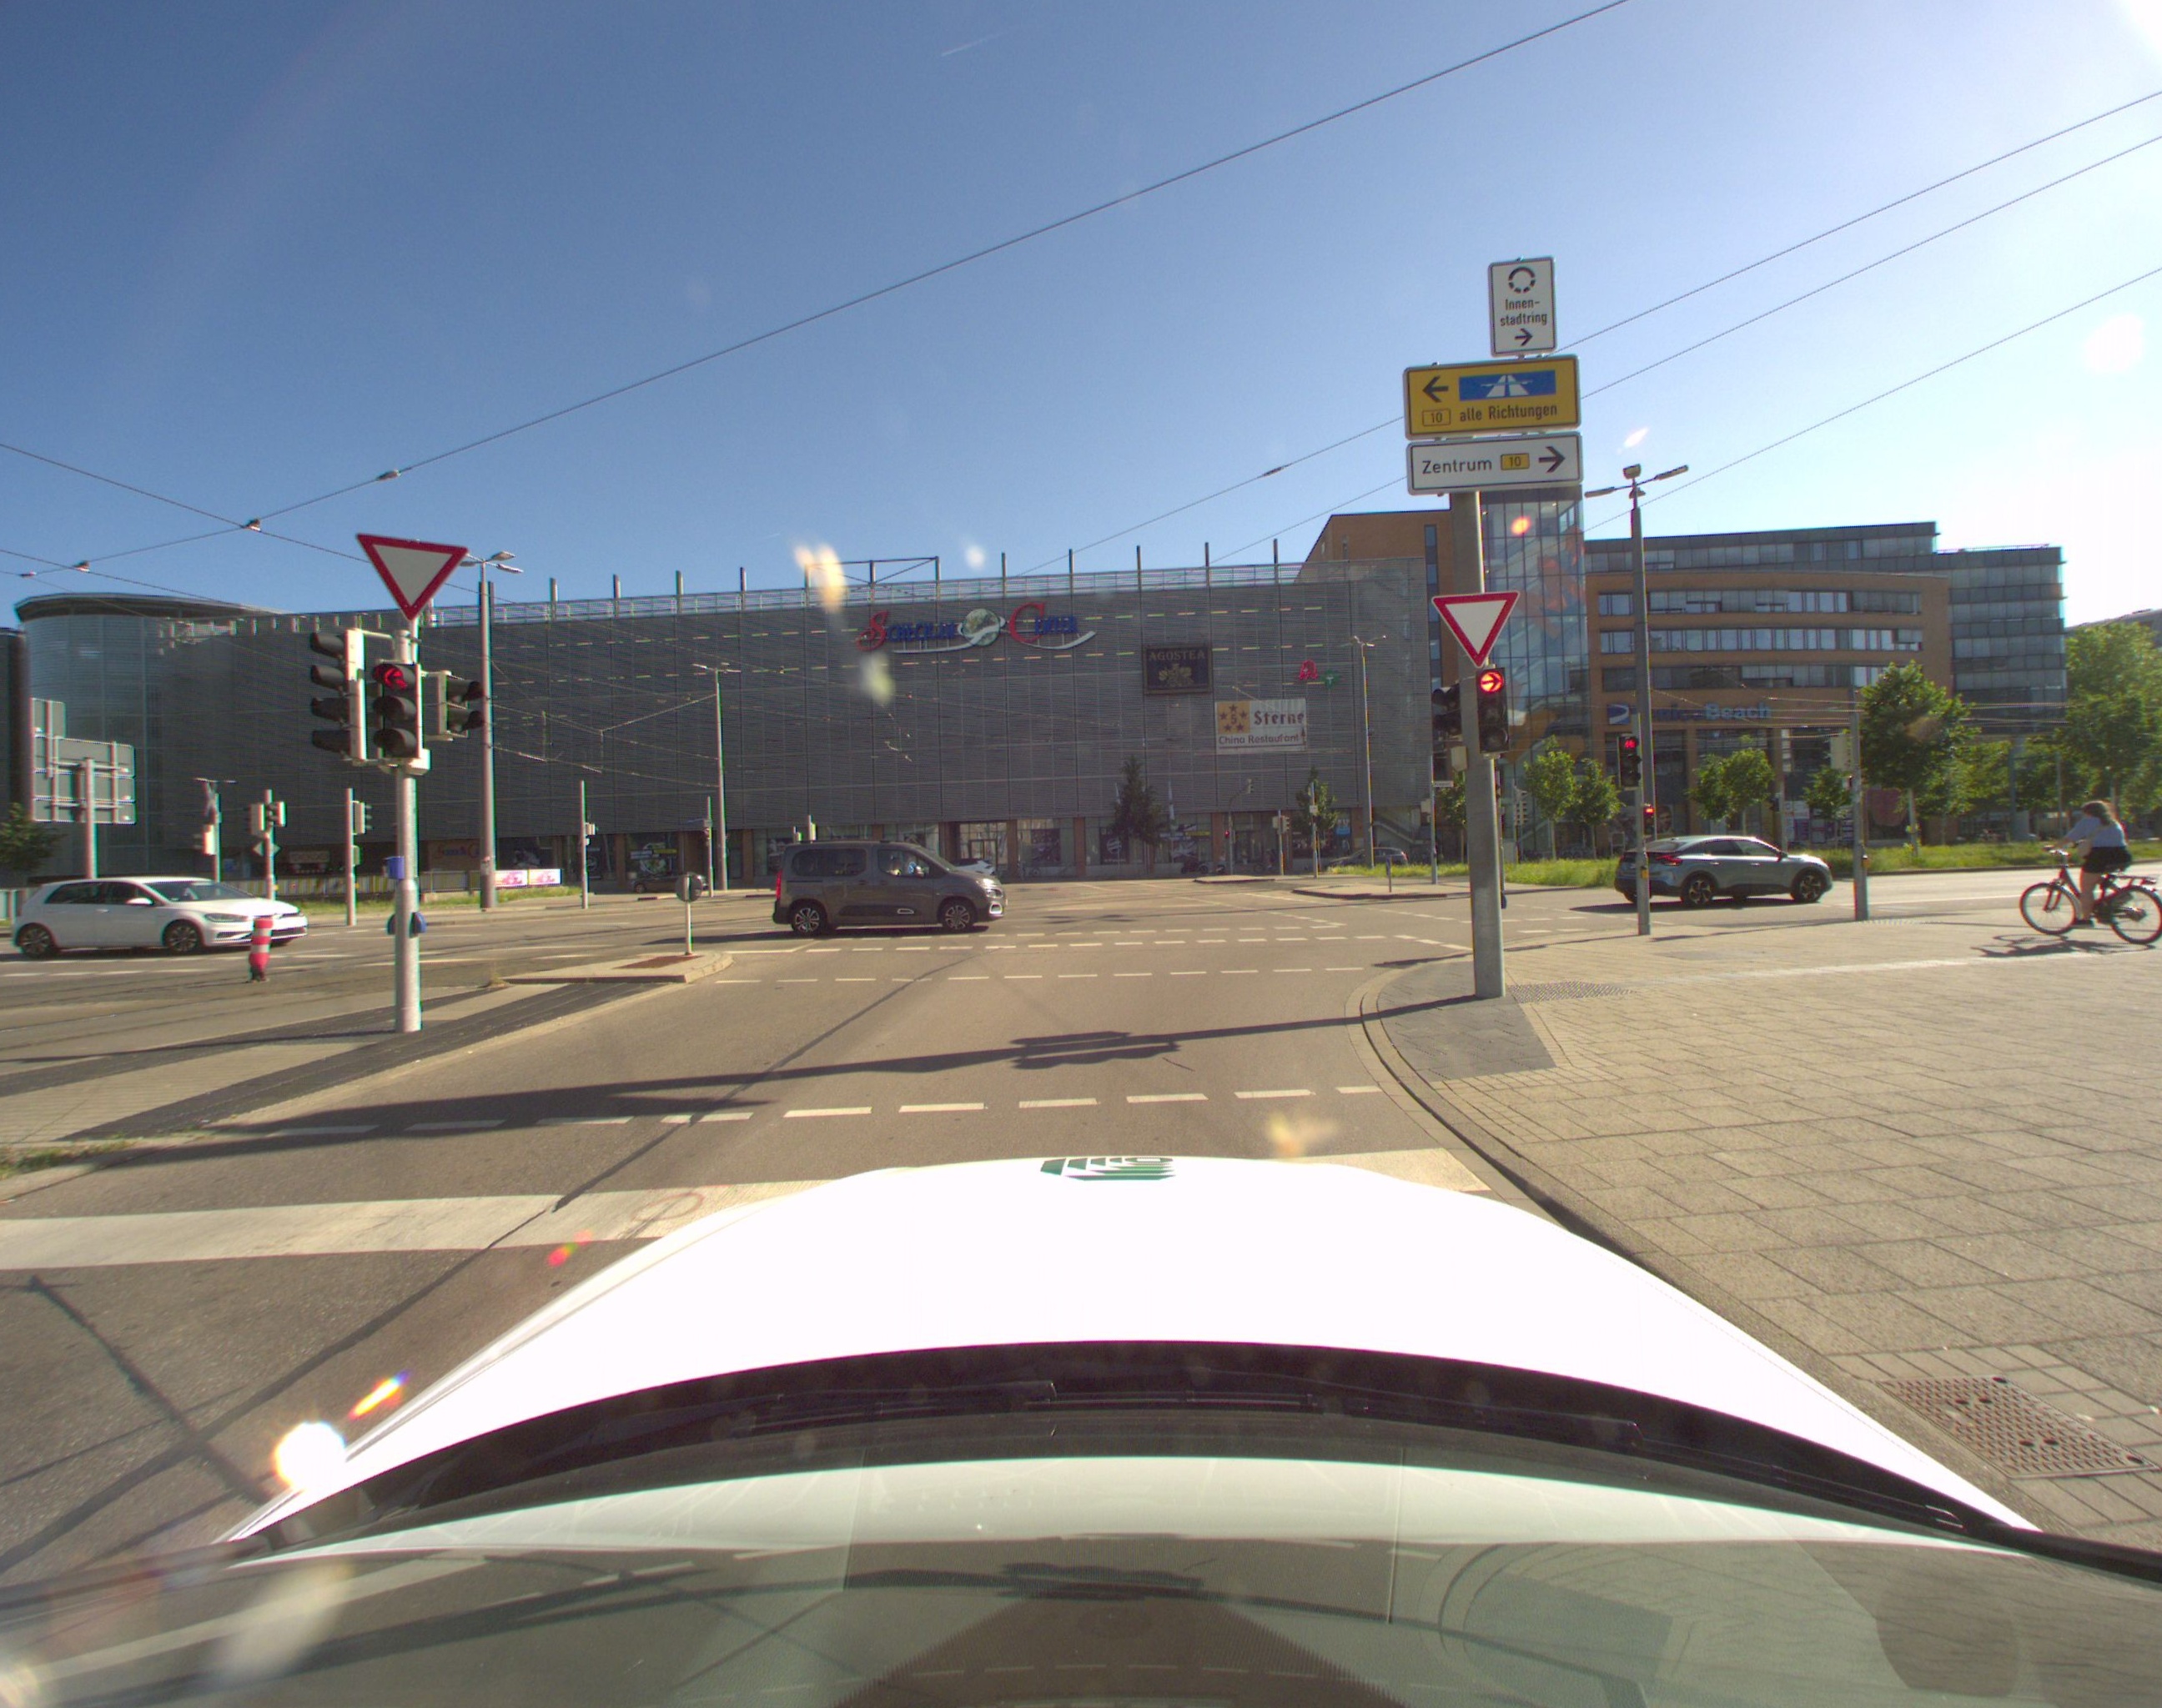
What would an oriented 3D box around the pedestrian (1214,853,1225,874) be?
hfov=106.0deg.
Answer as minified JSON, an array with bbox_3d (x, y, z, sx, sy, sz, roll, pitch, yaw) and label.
[{"bbox_3d":[9.394,0.628,55.196,0.650,1.414,0.853,-1,-1,12],"label":"pedestrian"}]

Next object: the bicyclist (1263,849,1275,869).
[{"bbox_3d":[13.298,0.342,57.610,0.750,1.386,0.566,-2,1,1],"label":"bicyclist"}]

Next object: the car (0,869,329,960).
[{"bbox_3d":[-17.323,1.101,15.504,4.267,1.472,1.866,-2,0,1],"label":"car"}]

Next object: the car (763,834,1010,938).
[{"bbox_3d":[-3.663,0.583,16.029,4.450,1.791,1.706,-2,0,-5],"label":"car"}]

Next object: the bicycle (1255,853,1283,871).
[{"bbox_3d":[13.299,0.575,57.611,1.850,1.217,0.569,-2,1,1],"label":"bicycle"}]

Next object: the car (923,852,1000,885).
[{"bbox_3d":[-7.205,0.852,49.224,4.311,1.863,1.841,-1,-1,1],"label":"car"}]

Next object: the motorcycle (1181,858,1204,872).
[{"bbox_3d":[8.301,0.828,60.590,1.630,1.004,0.448,0,0,8],"label":"motorcycle"}]

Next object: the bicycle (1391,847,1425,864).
[{"bbox_3d":[24.331,0.108,60.614,2.247,1.296,0.606,0,-1,0],"label":"bicycle"}]

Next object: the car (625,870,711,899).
[{"bbox_3d":[-25.228,1.858,49.852,4.274,1.584,1.841,2,-1,1],"label":"car"}]

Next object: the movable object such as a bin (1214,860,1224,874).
[{"bbox_3d":[9.260,0.879,54.733,0.608,0.904,0.972,-1,-1,12],"label":"movable object such as a bin"}]

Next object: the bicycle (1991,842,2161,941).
[{"bbox_3d":[11.960,0.435,9.684,0.661,1.072,1.828,-1,-2,18],"label":"bicycle"}]

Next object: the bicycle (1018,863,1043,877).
[{"bbox_3d":[-3.793,1.172,60.783,1.815,0.989,0.556,-2,1,-8],"label":"bicycle"}]

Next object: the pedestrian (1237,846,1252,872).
[{"bbox_3d":[11.905,0.352,59.342,0.945,1.829,0.847,-3,-4,7],"label":"pedestrian"}]

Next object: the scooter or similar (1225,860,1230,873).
[{"bbox_3d":[9.909,0.866,55.001,0.293,0.873,1.007,-1,-1,12],"label":"scooter or similar"}]

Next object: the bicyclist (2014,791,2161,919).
[{"bbox_3d":[11.963,0.033,9.705,0.661,1.436,0.944,-2,-3,19],"label":"bicyclist"}]

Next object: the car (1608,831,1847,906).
[{"bbox_3d":[14.248,0.297,18.039,4.262,1.514,1.704,-1,0,-8],"label":"car"}]

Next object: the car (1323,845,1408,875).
[{"bbox_3d":[15.872,0.345,45.615,4.132,1.470,1.841,2,-1,0],"label":"car"}]

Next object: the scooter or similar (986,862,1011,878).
[{"bbox_3d":[-6.196,1.202,61.224,1.790,1.066,0.611,-2,1,-6],"label":"scooter or similar"}]
